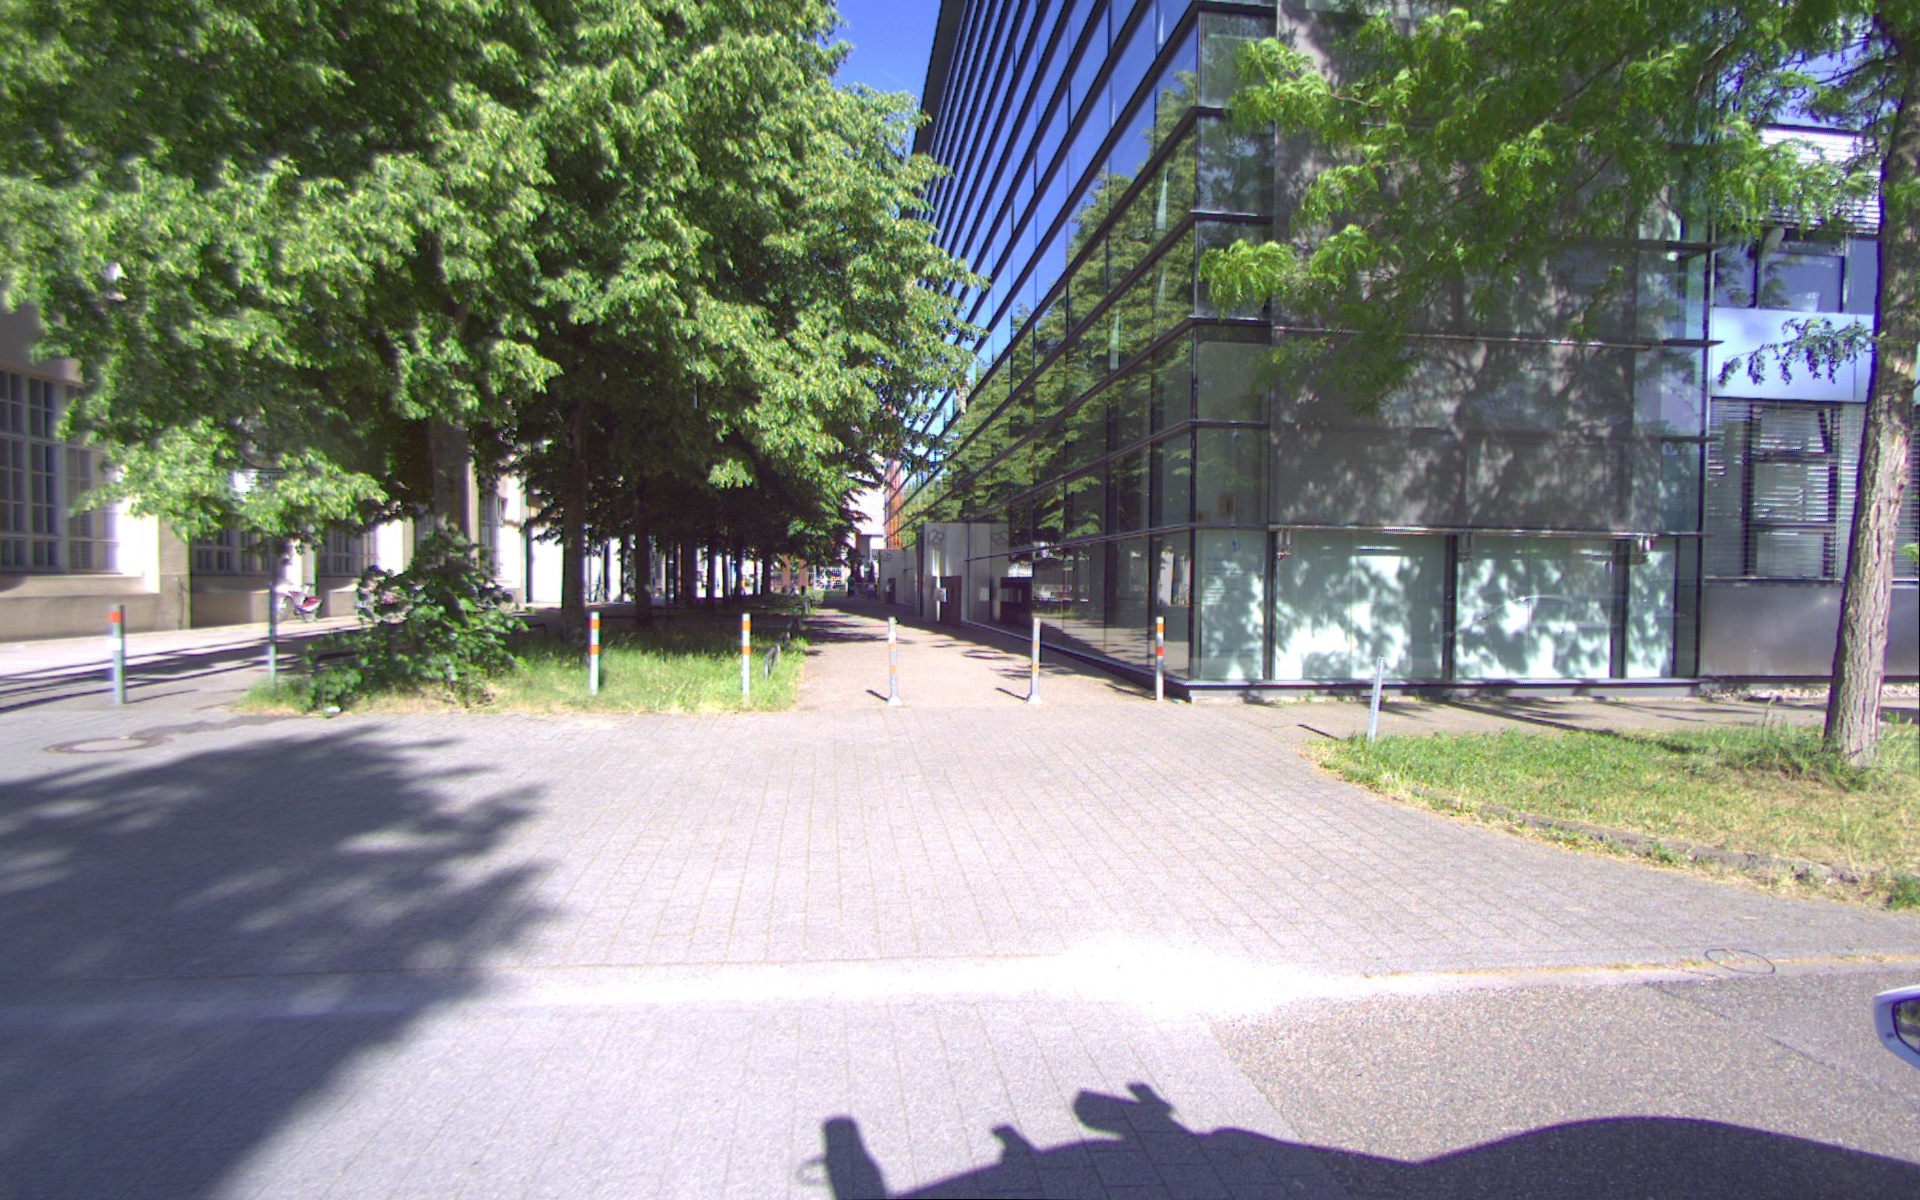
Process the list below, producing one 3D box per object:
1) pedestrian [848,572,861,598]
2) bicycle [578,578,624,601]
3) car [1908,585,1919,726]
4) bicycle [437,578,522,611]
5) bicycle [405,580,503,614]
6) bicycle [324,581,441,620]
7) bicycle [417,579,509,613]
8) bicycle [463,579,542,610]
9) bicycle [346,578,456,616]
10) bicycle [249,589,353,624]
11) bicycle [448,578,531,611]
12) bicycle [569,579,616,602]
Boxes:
[{"bbox_3d":[-6.416,-0.924,60.966,0.705,1.571,0.690,0,2,-1],"label":"pedestrian"},{"bbox_3d":[-17.399,-0.509,48.703,2.025,1.081,0.506,0,2,-6],"label":"bicycle"},{"bbox_3d":[10.584,0.691,7.753,1.857,1.369,4.542,0,4,-8],"label":"car"},{"bbox_3d":[-17.464,-0.216,36.550,2.692,1.166,0.717,0,2,-12],"label":"bicycle"},{"bbox_3d":[-16.528,-0.108,32.886,2.760,1.077,0.717,0,2,-12],"label":"bicycle"},{"bbox_3d":[-16.230,0.015,28.291,2.760,1.077,0.717,0,2,-12],"label":"bicycle"},{"bbox_3d":[-17.284,-0.138,35.000,2.760,1.166,0.717,0,2,-12],"label":"bicycle"},{"bbox_3d":[-17.827,-0.224,39.166,2.692,1.166,0.717,0,2,-12],"label":"bicycle"},{"bbox_3d":[-16.621,-0.088,29.916,2.758,1.077,0.718,0,2,-8],"label":"bicycle"},{"bbox_3d":[-16.769,0.148,25.673,0.765,0.803,2.884,1,1,0],"label":"bicycle"},{"bbox_3d":[-17.482,-0.205,37.344,2.692,1.166,0.717,0,2,-12],"label":"bicycle"},{"bbox_3d":[-17.544,-0.473,47.931,2.025,1.081,0.506,0,2,-6],"label":"bicycle"}]
